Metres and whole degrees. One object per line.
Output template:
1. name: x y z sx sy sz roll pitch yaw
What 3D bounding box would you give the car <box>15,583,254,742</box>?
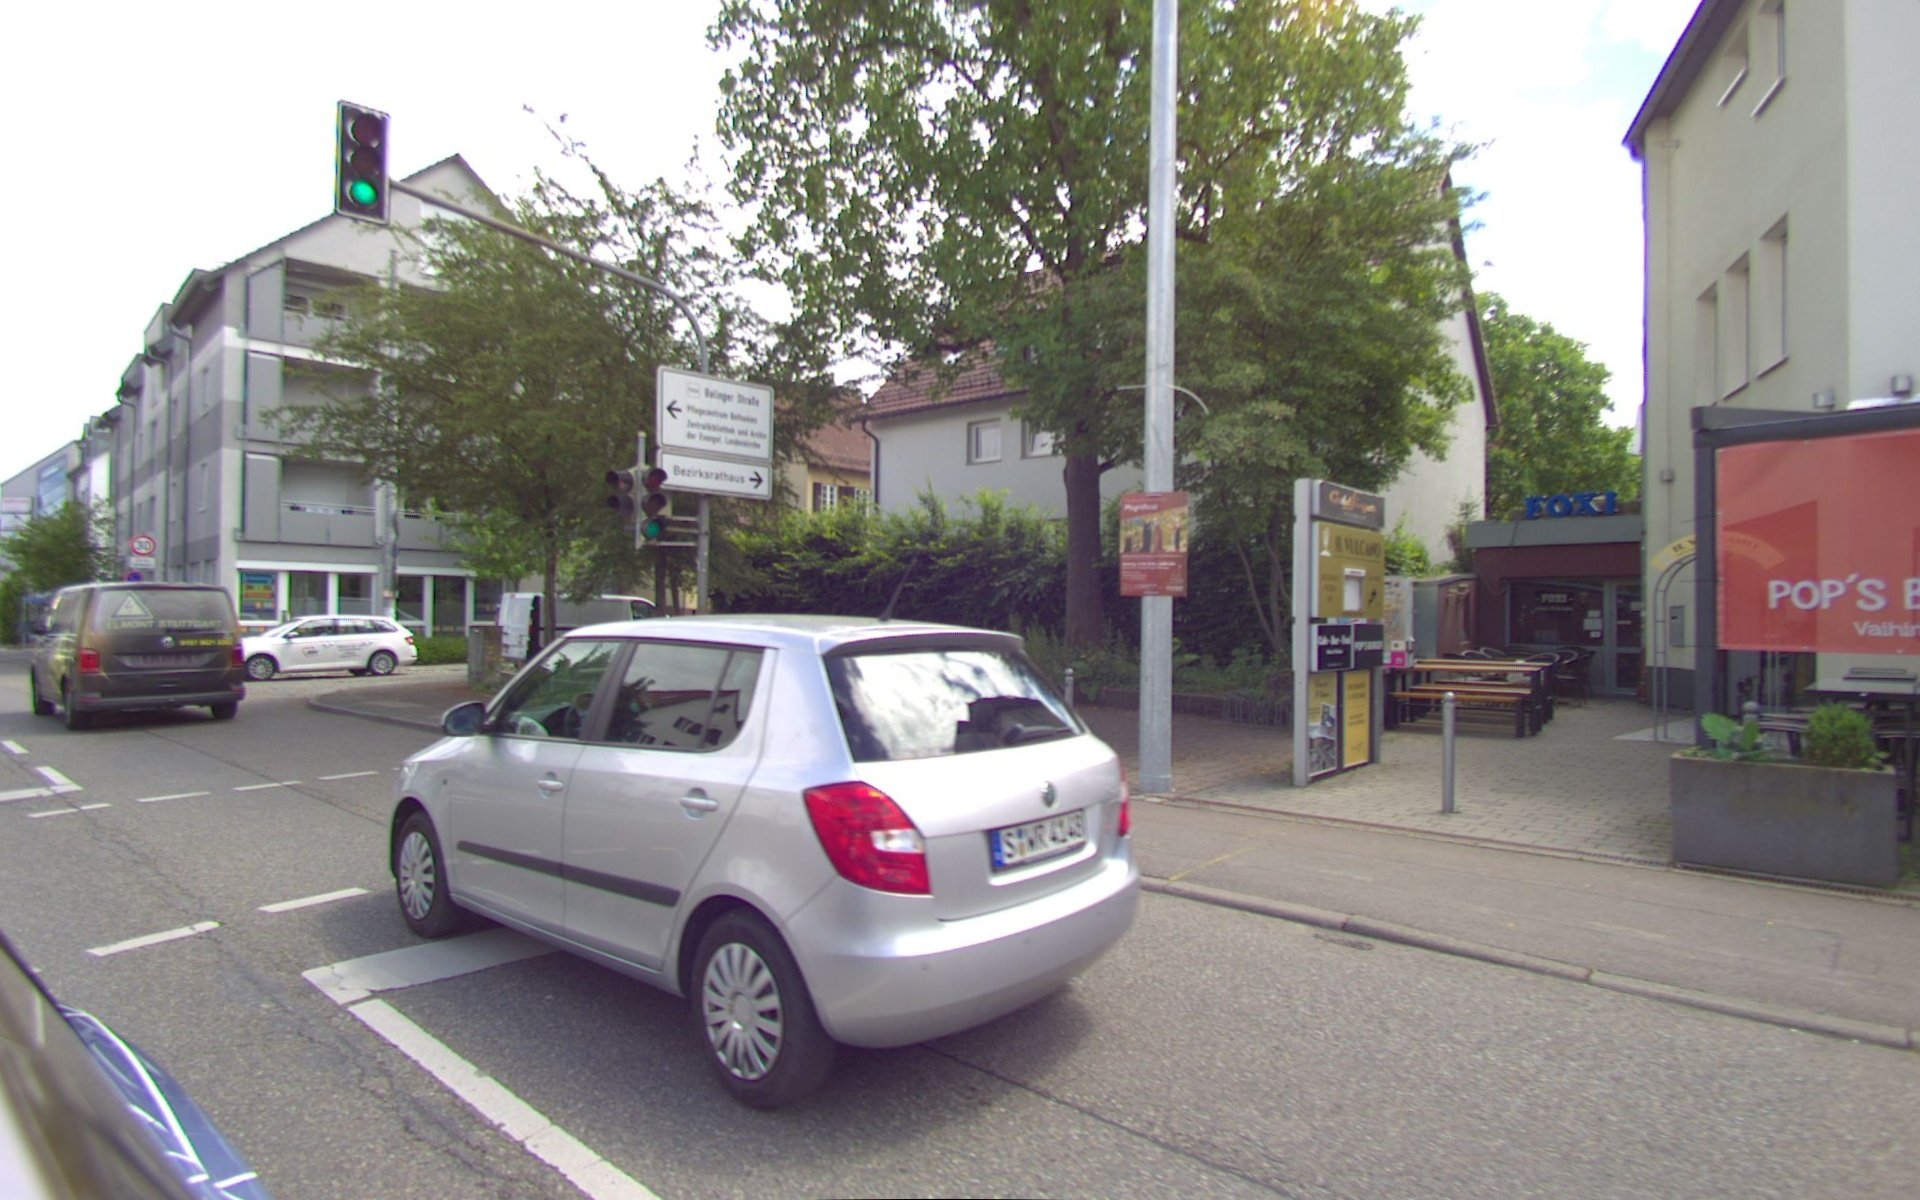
1. car: -11.957 0.794 14.537 4.748 1.927 1.858 -1 -1 41

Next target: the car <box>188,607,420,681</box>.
1. car: -15.049 0.955 23.380 1.821 1.525 4.167 -3 -2 41

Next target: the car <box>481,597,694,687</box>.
1. car: -9.142 0.953 25.147 2.093 2.024 4.575 -1 -1 39

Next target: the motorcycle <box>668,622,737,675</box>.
1. motorcycle: -7.039 1.293 27.619 2.136 1.343 0.832 0 -1 45
